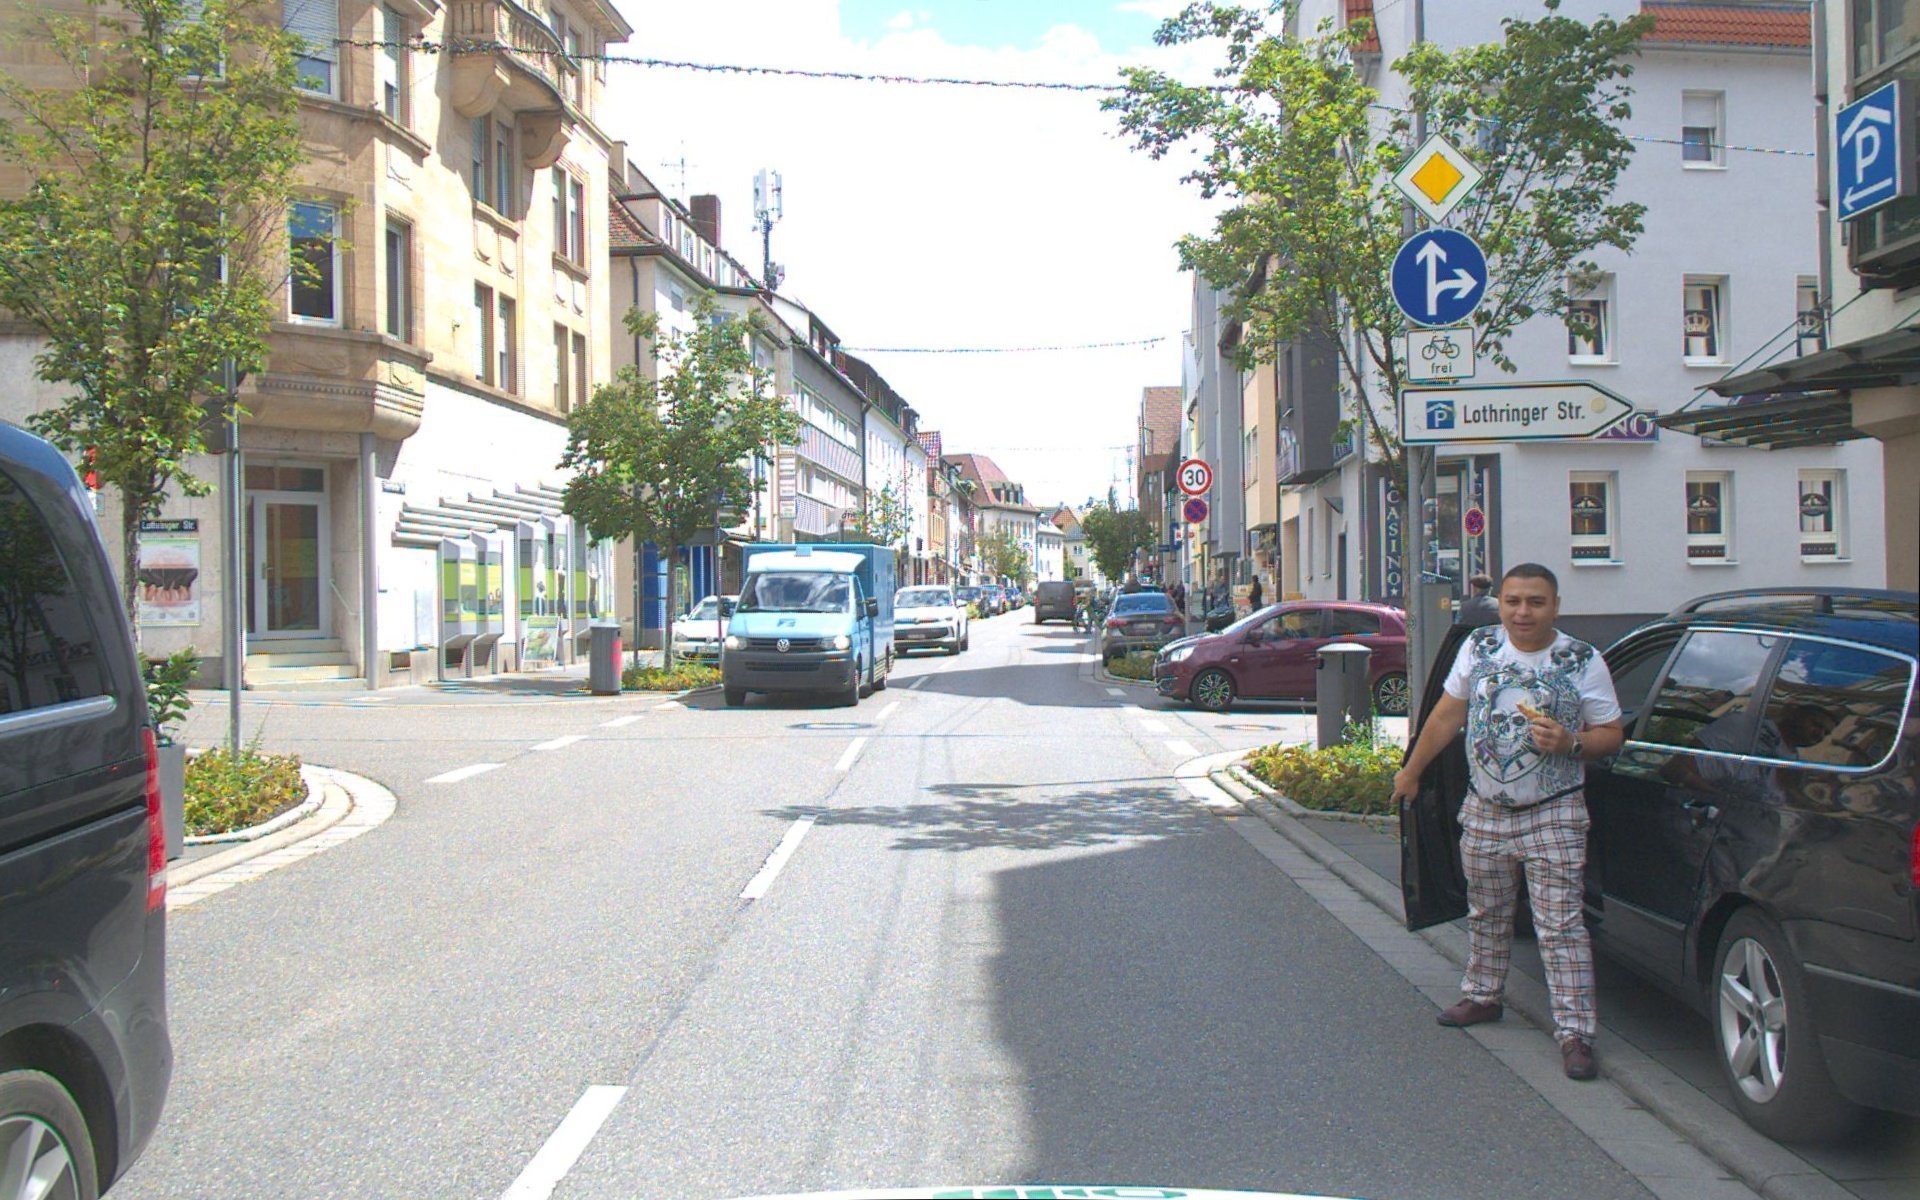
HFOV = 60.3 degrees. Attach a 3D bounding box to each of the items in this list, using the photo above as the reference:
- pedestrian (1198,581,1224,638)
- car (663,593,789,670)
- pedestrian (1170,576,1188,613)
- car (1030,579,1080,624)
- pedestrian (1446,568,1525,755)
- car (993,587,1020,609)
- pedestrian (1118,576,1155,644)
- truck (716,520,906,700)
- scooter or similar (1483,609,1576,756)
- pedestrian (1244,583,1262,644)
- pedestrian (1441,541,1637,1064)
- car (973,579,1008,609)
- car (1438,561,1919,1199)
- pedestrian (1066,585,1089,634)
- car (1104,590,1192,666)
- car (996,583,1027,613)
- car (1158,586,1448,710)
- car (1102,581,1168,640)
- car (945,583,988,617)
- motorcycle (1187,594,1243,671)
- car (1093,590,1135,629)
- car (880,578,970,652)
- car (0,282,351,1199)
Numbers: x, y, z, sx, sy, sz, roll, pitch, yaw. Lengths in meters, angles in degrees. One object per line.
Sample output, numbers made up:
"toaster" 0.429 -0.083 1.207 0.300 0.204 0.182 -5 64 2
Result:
"pedestrian" 7.737 0.302 51.049 0.728 1.748 0.656 -1 -1 3
"car" -4.636 0.611 33.319 1.807 1.422 4.038 1 0 2
"pedestrian" 9.563 -0.231 72.223 0.734 1.580 0.726 -1 -1 4
"car" 4.272 0.079 73.707 1.997 1.881 5.002 1 0 5
"pedestrian" 4.945 0.571 15.585 0.559 1.733 0.481 1 -1 -2
"car" 3.532 -0.167 123.856 1.761 1.626 4.392 0 0 5
"pedestrian" 5.040 0.284 47.276 0.955 1.896 0.865 -2 -1 3
"truck" -2.074 0.153 25.111 2.063 2.346 6.477 1 0 2
"scooter or similar" 5.293 0.740 15.416 0.422 1.303 1.249 1 -1 0
"pedestrian" 8.371 0.384 47.286 0.426 1.748 0.537 1 -1 2
"pedestrian" 1.937 0.630 5.520 0.571 1.628 0.548 1 -1 21
"car" 1.940 -0.359 103.736 1.777 1.786 4.467 1 0 6
"car" 3.078 0.637 5.686 1.679 1.479 4.553 0 0 2
"pedestrian" 4.033 0.336 56.728 0.716 1.646 0.651 1 -1 0
"car" 3.917 0.563 34.268 1.670 1.445 4.321 1 0 7
"car" 3.504 -0.128 111.775 1.778 1.922 4.844 1 0 6
"car" 4.586 0.631 22.485 3.668 1.557 1.538 1 -1 4
"car" 5.243 0.277 49.930 1.762 1.631 4.206 -2 0 4
"car" 0.376 0.001 90.592 1.777 1.786 4.672 1 0 8
"motorcycle" 4.486 0.558 29.222 0.645 1.281 2.376 1 0 1
"car" 6.490 0.377 69.946 1.653 1.497 4.526 1 2 4
"car" -0.784 0.364 39.844 1.750 1.668 4.118 1 0 4
"car" -2.499 0.502 1.494 1.833 1.966 5.178 0 1 2
